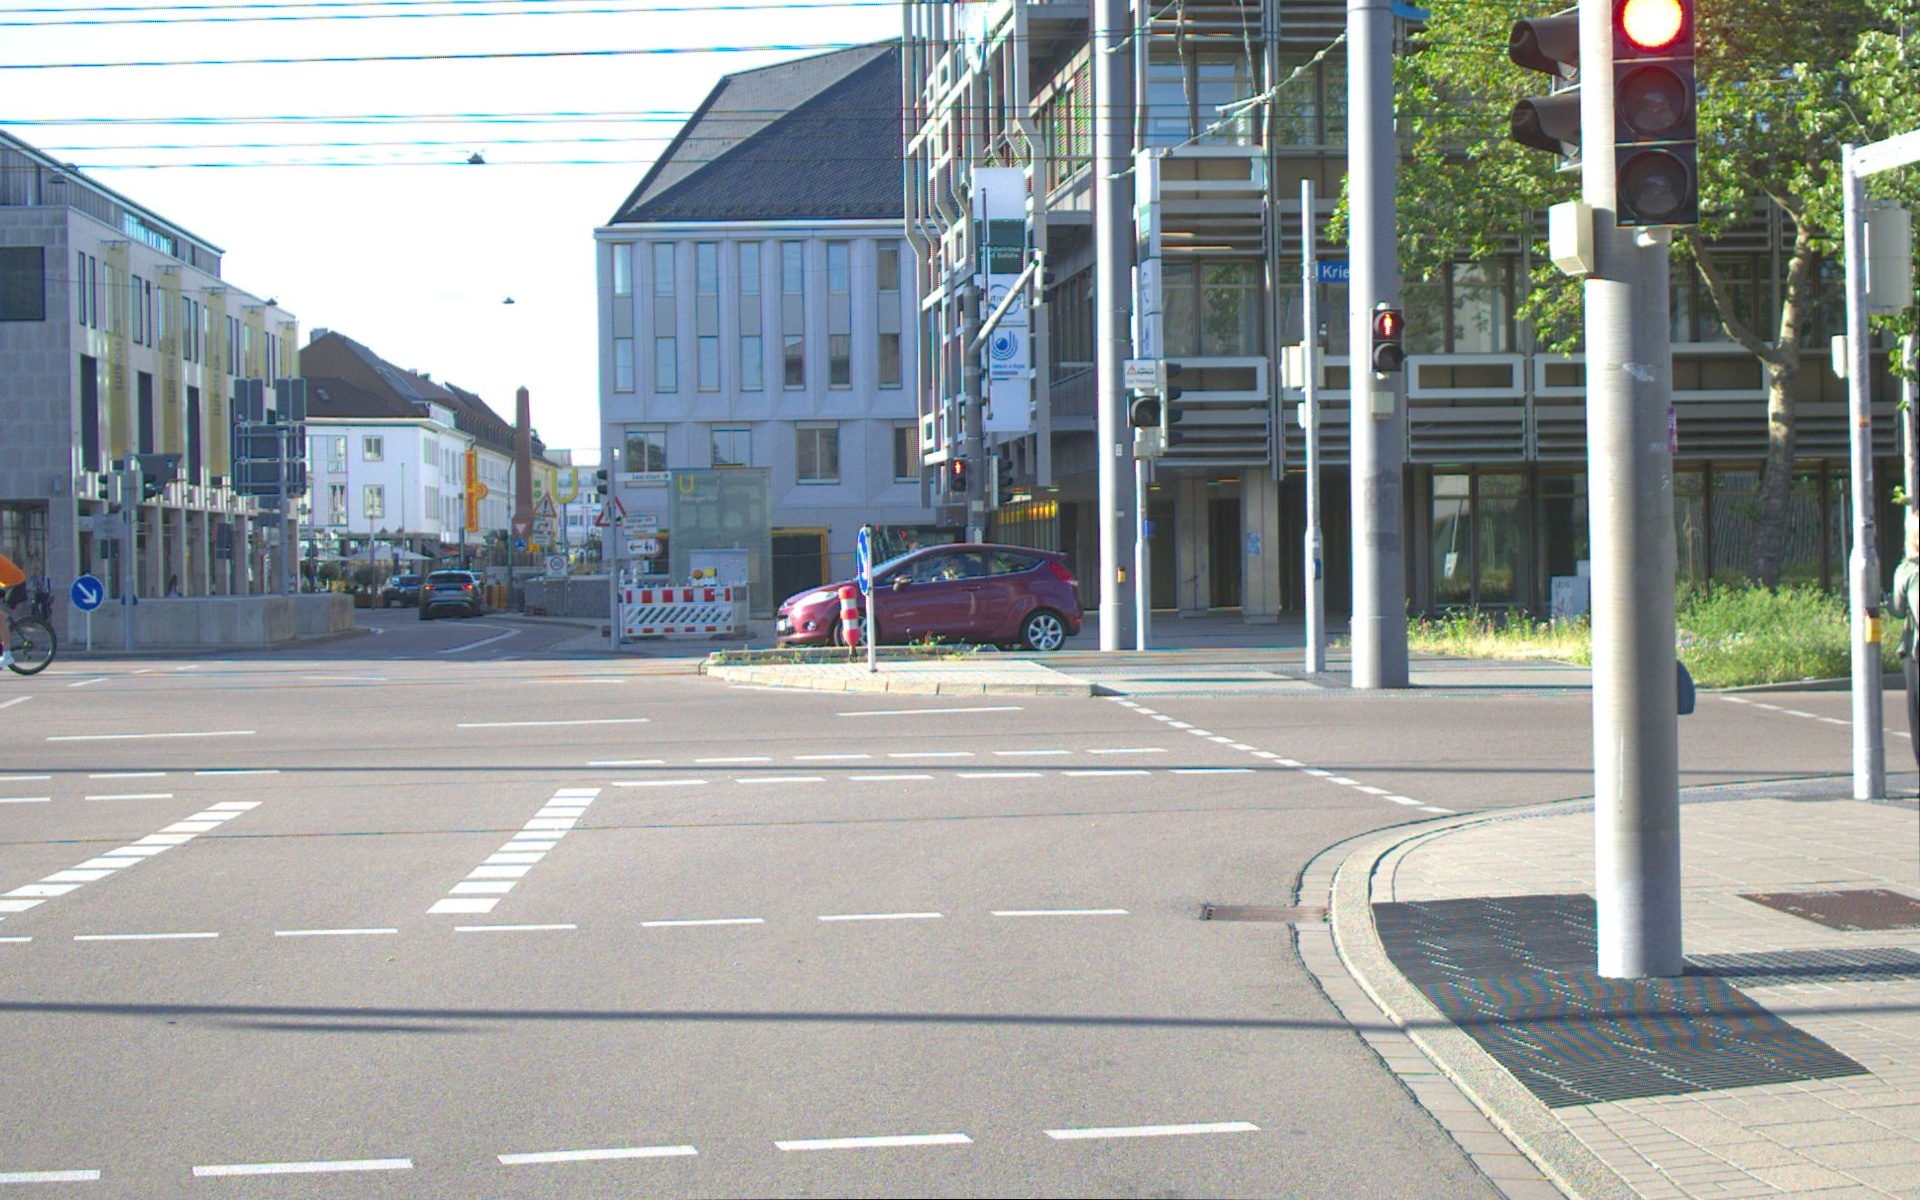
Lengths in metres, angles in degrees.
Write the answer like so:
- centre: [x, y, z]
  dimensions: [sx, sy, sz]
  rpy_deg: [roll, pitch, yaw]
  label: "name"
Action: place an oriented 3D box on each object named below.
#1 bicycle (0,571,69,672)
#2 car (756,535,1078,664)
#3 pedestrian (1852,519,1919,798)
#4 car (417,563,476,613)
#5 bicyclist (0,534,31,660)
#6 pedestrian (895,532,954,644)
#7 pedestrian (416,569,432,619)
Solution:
- centre: [-11.062, 0.243, 39.249]
  dimensions: [1.645, 1.150, 0.497]
  rpy_deg: [0, 1, -38]
  label: "bicycle"
- centre: [-0.569, -0.024, 44.422]
  dimensions: [3.884, 1.579, 1.660]
  rpy_deg: [-1, 1, -13]
  label: "car"
- centre: [5.336, 0.312, 18.678]
  dimensions: [0.788, 1.487, 0.644]
  rpy_deg: [1, 0, -1]
  label: "pedestrian"
- centre: [-16.147, -0.389, 108.208]
  dimensions: [1.737, 1.525, 3.856]
  rpy_deg: [1, 1, -7]
  label: "car"
- centre: [-11.050, -0.040, 39.246]
  dimensions: [0.711, 1.432, 0.497]
  rpy_deg: [0, 0, -38]
  label: "bicyclist"
- centre: [-0.602, -0.202, 58.393]
  dimensions: [0.643, 1.883, 0.789]
  rpy_deg: [1, 0, 36]
  label: "pedestrian"
- centre: [-18.204, -0.204, 116.797]
  dimensions: [0.521, 1.674, 0.583]
  rpy_deg: [1, 1, -7]
  label: "pedestrian"
